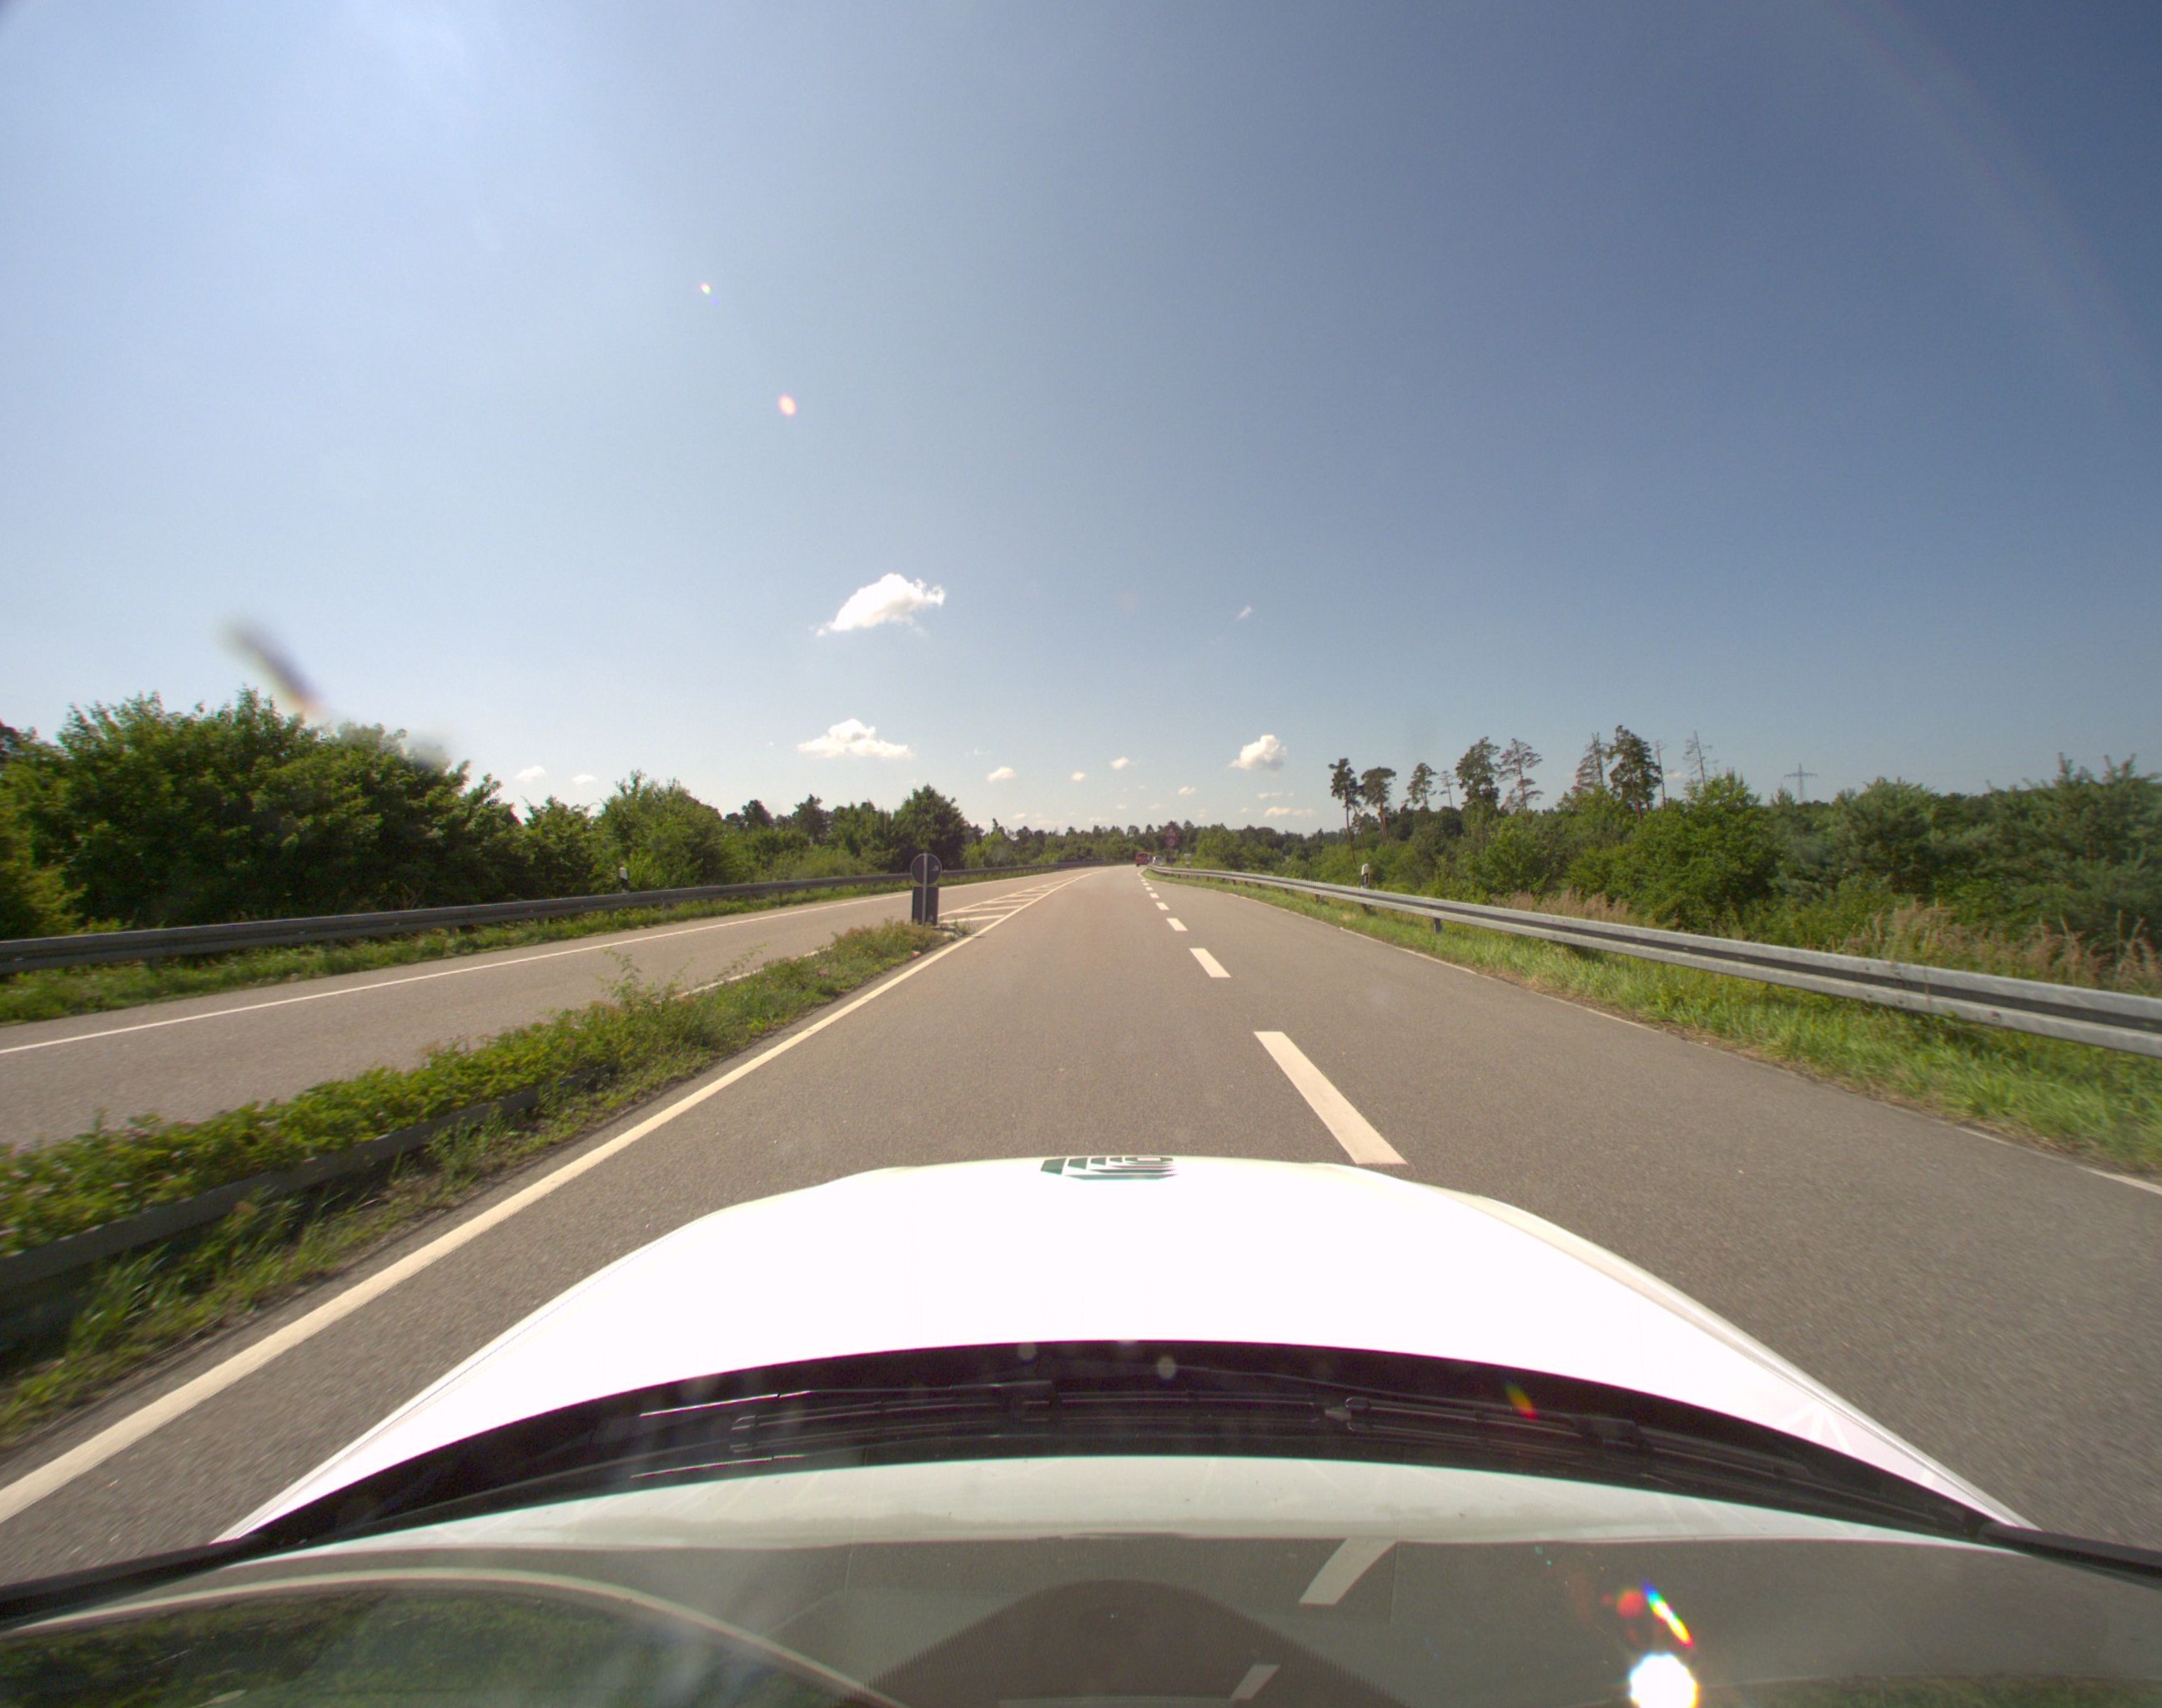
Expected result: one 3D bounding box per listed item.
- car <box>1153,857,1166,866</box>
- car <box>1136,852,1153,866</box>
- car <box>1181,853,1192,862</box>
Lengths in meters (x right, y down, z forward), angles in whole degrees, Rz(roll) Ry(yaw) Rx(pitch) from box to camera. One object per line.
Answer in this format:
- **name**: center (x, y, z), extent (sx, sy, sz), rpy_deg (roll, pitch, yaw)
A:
- **car**: center (13.295, 1.316, 137.554), extent (1.995, 1.494, 4.249), rpy_deg (0, -1, 9)
- **car**: center (9.095, 0.731, 115.923), extent (2.065, 1.993, 5.124), rpy_deg (0, -1, 9)
- **car**: center (25.093, 0.867, 193.777), extent (2.171, 1.955, 5.821), rpy_deg (1, 0, 11)
